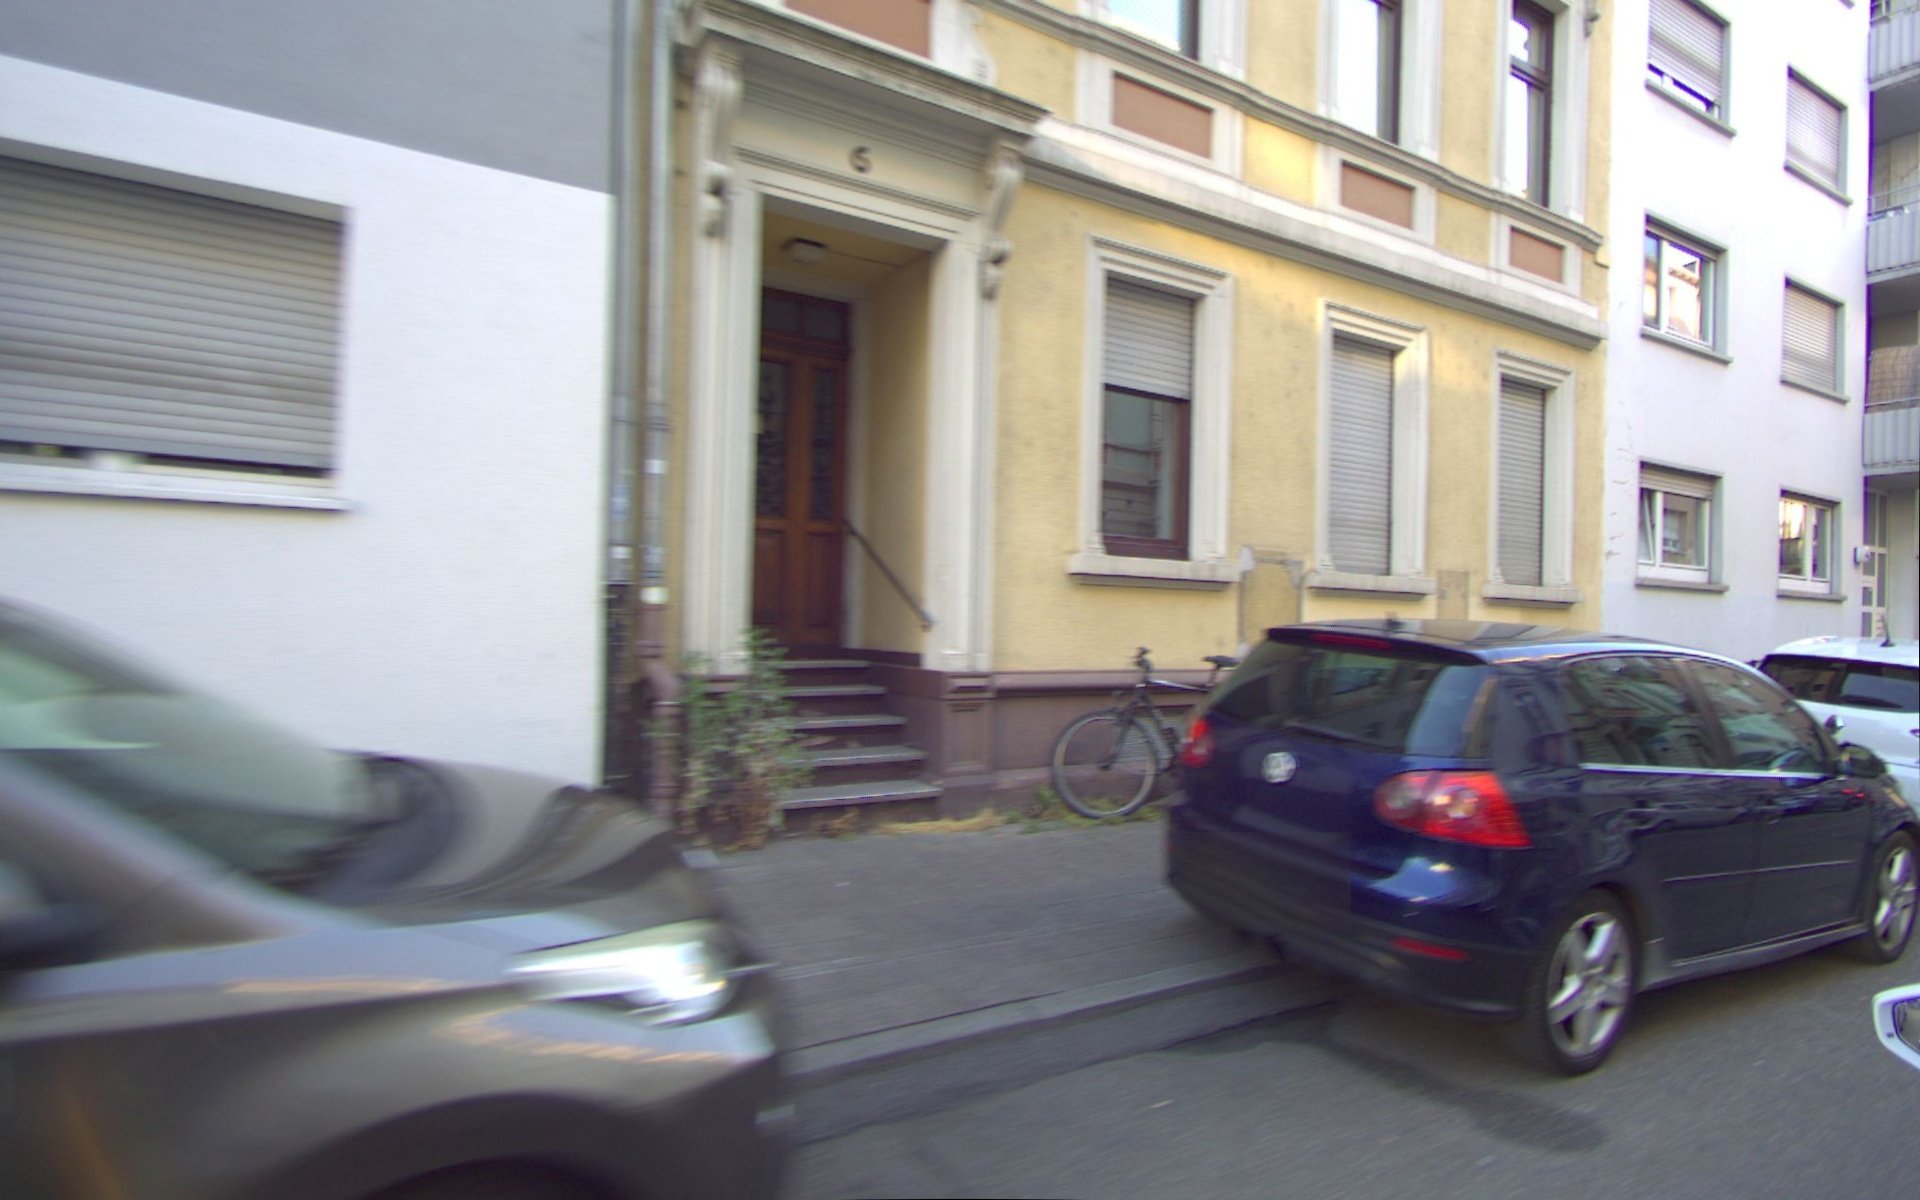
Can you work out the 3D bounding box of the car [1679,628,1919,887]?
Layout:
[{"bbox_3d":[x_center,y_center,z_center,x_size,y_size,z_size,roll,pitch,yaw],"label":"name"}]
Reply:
[{"bbox_3d":[6.980,0.974,7.207,3.711,1.492,1.622,1,-1,-31],"label":"car"}]

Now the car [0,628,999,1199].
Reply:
[{"bbox_3d":[-2.114,0.723,1.489,4.085,1.349,1.675,3,-2,-31],"label":"car"}]

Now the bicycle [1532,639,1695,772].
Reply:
[{"bbox_3d":[6.540,1.004,10.019,2.099,1.216,0.520,2,-2,-32],"label":"bicycle"}]

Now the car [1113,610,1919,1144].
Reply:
[{"bbox_3d":[2.728,0.843,4.610,3.786,1.529,1.719,1,-1,-31],"label":"car"}]

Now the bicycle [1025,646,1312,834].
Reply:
[{"bbox_3d":[1.477,0.898,6.904,2.105,1.133,0.531,2,-1,-30],"label":"bicycle"}]
